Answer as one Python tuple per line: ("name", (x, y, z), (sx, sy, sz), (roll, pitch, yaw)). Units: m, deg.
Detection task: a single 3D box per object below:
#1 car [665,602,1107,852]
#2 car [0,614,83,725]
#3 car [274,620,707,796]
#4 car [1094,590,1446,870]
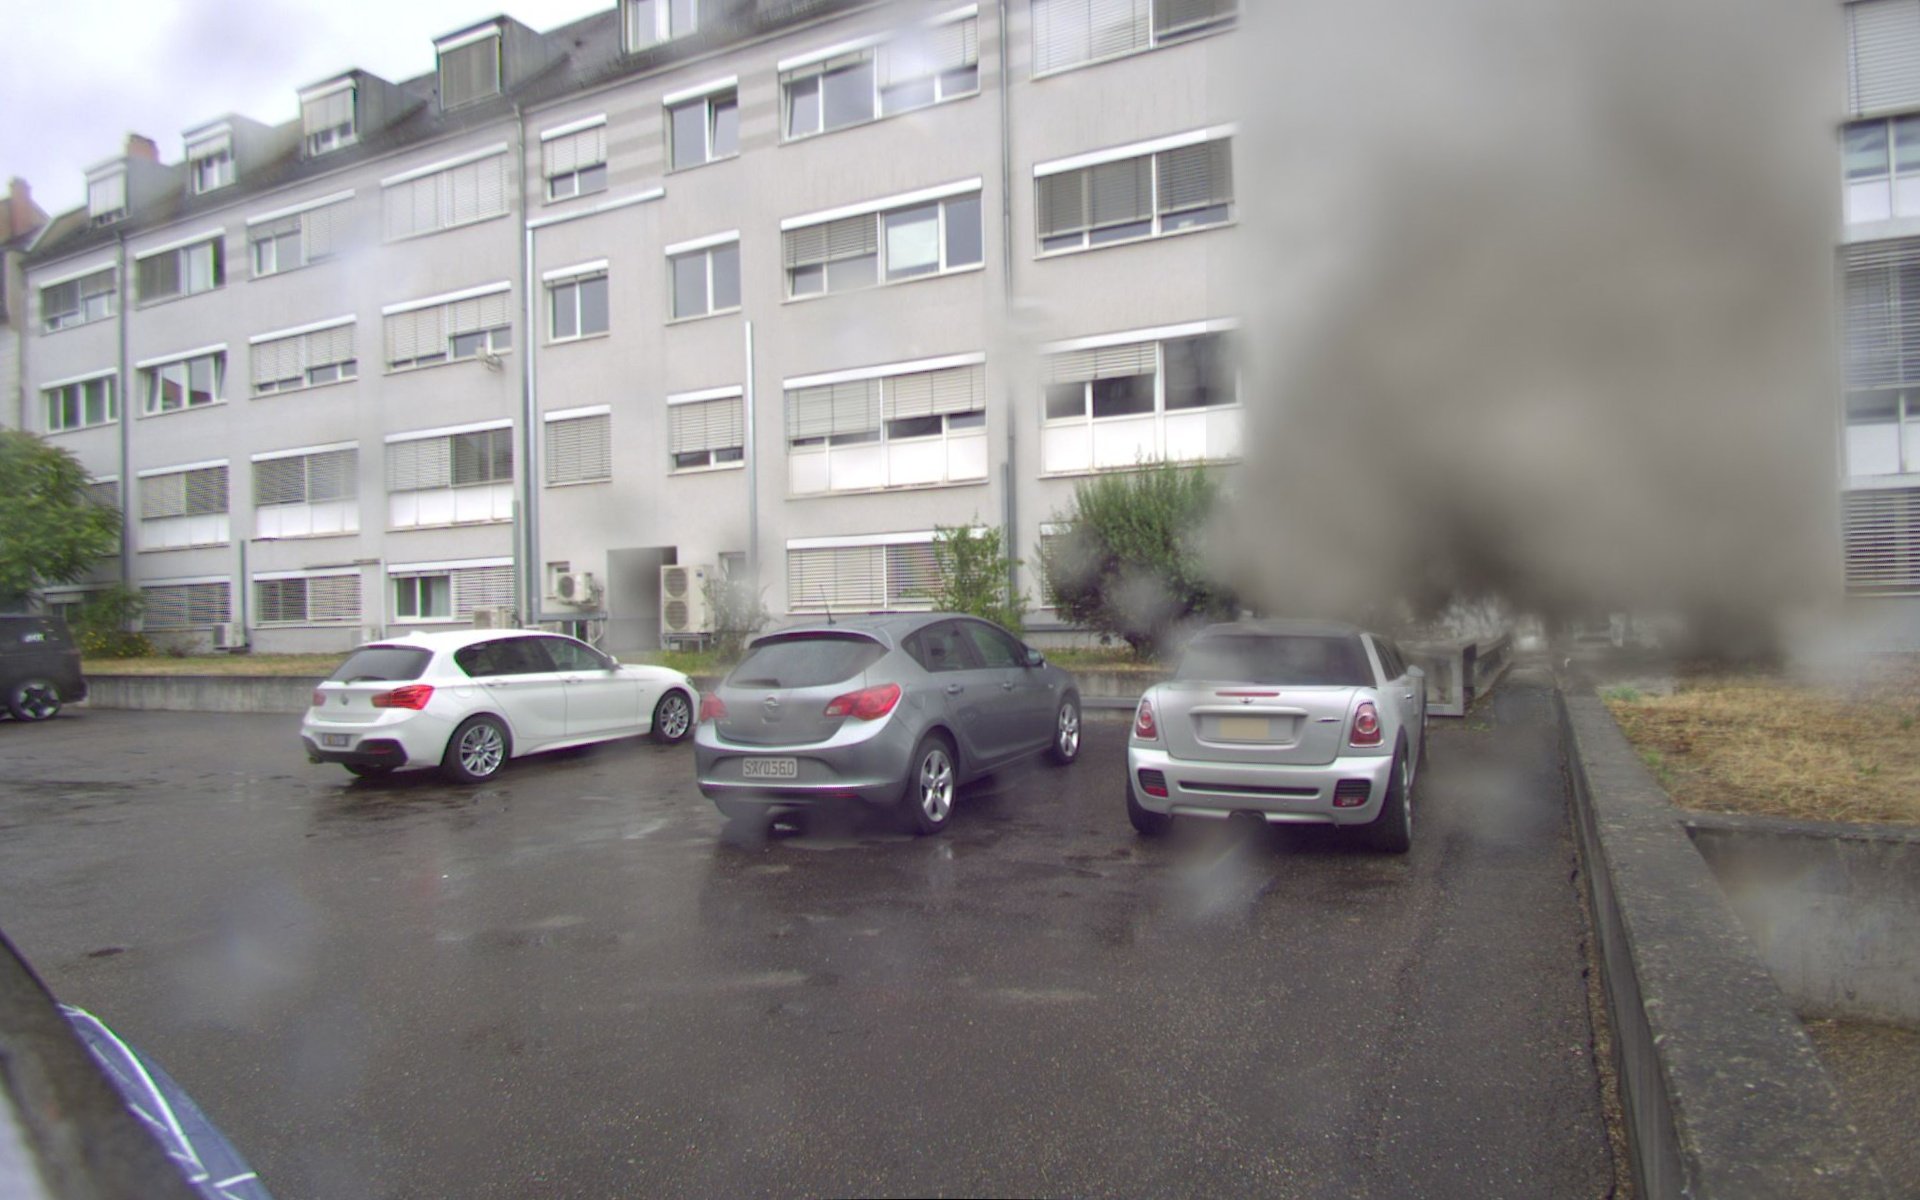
("car", (-0.294, 0.806, 8.350), (1.812, 1.495, 4.143), (-3, -1, 25))
("car", (-17.484, 1.237, 16.369), (1.975, 1.850, 4.596), (-3, -1, 23))
("car", (-4.770, 0.983, 10.959), (1.743, 1.444, 4.117), (-1, -1, 25))
("car", (2.572, 0.706, 7.584), (1.813, 1.343, 4.142), (-3, 1, 27))
